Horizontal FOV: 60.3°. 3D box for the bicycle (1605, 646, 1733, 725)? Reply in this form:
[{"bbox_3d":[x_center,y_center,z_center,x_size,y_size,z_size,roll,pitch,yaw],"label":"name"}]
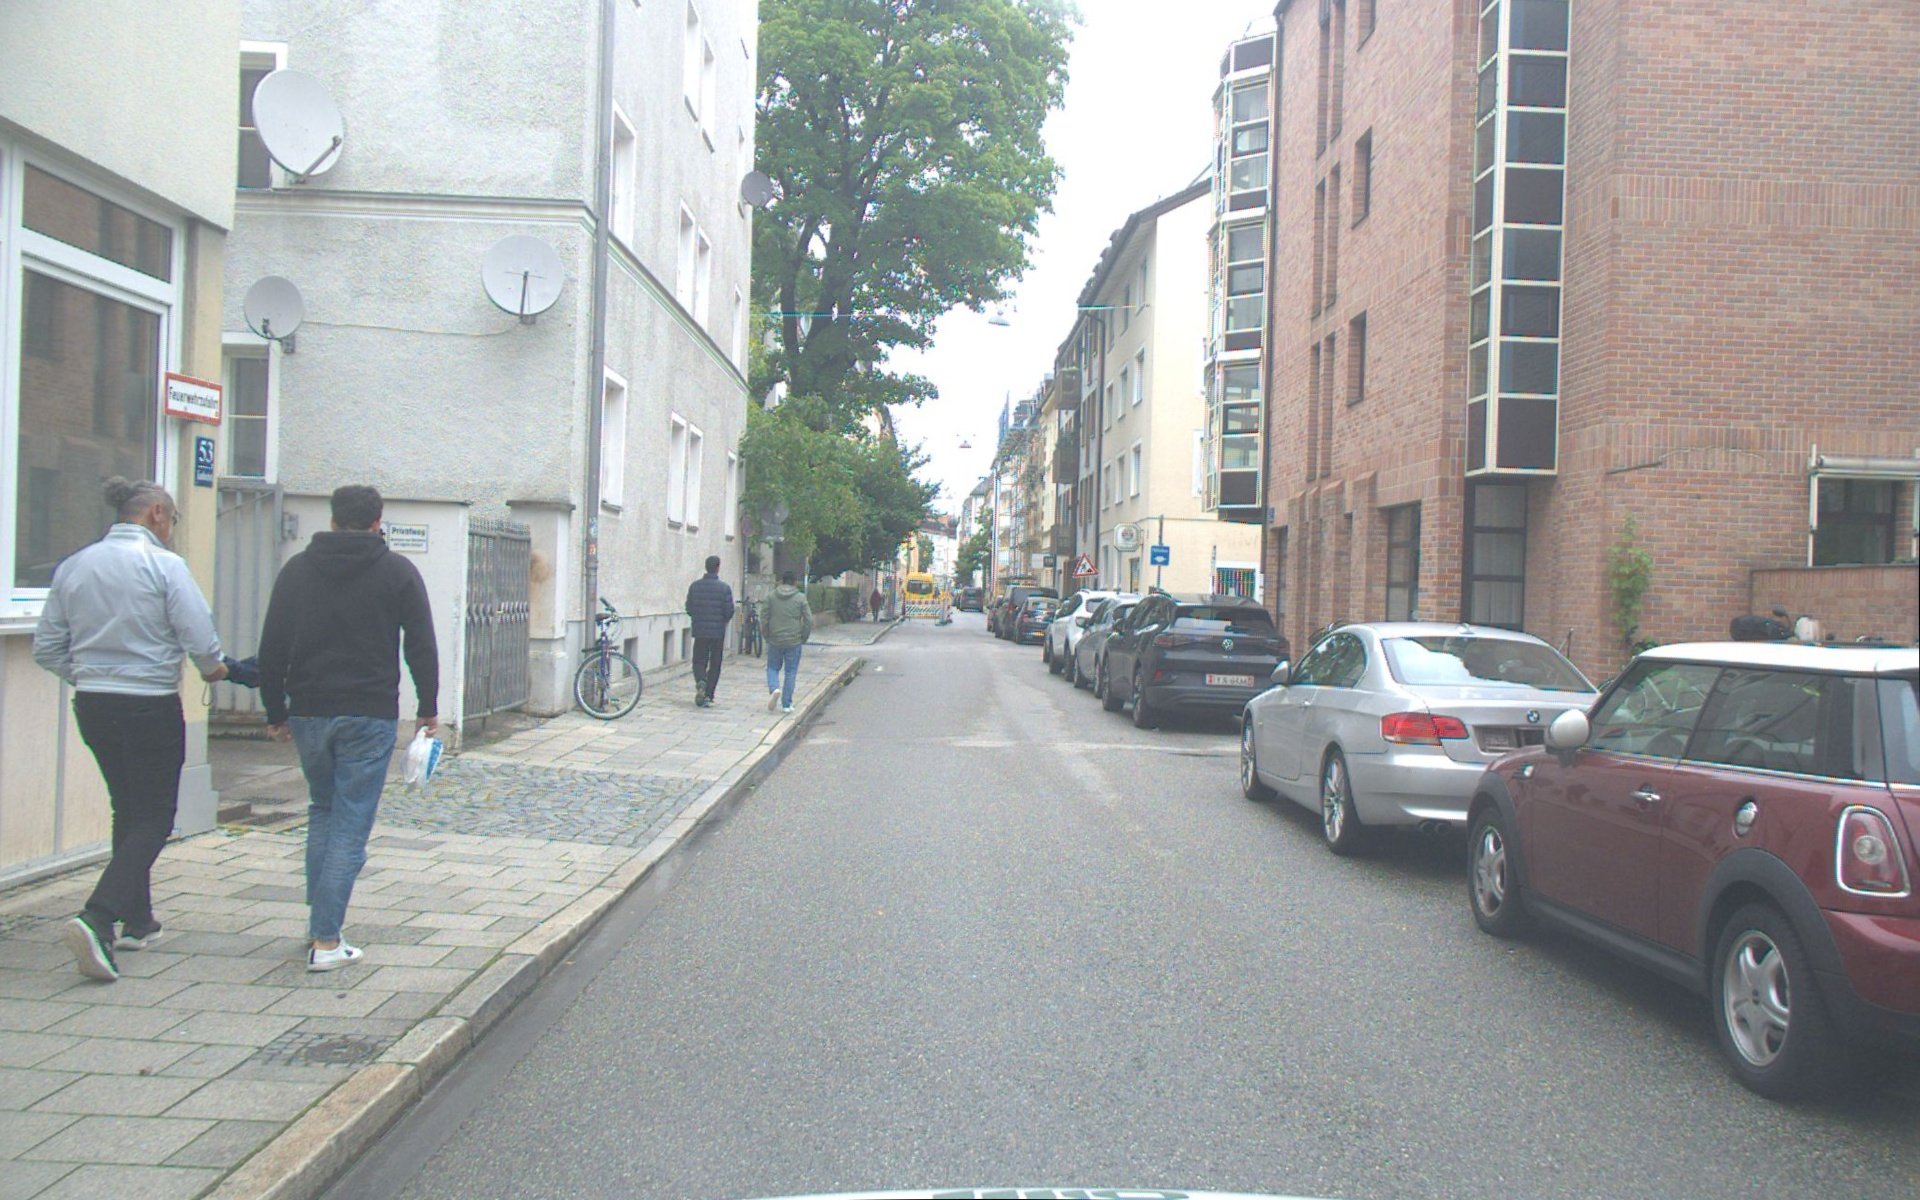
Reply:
[{"bbox_3d":[8.140,0.975,19.008,1.289,0.874,0.413,1,0,-1],"label":"bicycle"}]

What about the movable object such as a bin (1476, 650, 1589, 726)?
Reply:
[{"bbox_3d":[6.922,1.055,20.025,1.064,0.846,0.844,1,0,0],"label":"movable object such as a bin"}]

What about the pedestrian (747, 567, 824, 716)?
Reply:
[{"bbox_3d":[-2.065,0.485,19.670,0.738,1.688,0.906,3,-1,-1],"label":"pedestrian"}]

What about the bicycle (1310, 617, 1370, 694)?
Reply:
[{"bbox_3d":[5.828,0.837,25.436,0.548,1.098,1.471,2,0,-1],"label":"bicycle"}]

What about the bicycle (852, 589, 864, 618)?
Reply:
[{"bbox_3d":[-5.165,0.185,84.074,0.503,1.442,1.933,1,0,-1],"label":"bicycle"}]

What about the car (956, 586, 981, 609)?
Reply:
[{"bbox_3d":[0.701,-0.202,135.554,1.766,1.741,3.825,5,0,-3],"label":"car"}]

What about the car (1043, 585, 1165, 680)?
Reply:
[{"bbox_3d":[2.669,0.573,31.479,1.714,1.658,4.194,1,0,-3],"label":"car"}]

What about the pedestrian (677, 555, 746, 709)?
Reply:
[{"bbox_3d":[-2.921,0.372,19.510,0.600,1.743,0.823,3,-1,-2],"label":"pedestrian"}]

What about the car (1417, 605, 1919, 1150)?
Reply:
[{"bbox_3d":[3.372,0.810,6.735,1.710,1.487,4.148,2,0,-2],"label":"car"}]

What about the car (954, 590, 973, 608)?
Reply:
[{"bbox_3d":[0.361,-0.122,163.697,1.764,1.642,3.999,2,0,-1],"label":"car"}]

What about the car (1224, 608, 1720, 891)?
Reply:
[{"bbox_3d":[3.171,0.831,11.331,1.799,1.442,4.599,2,0,-2],"label":"car"}]

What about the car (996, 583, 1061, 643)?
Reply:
[{"bbox_3d":[2.349,0.431,57.649,1.766,1.851,3.998,5,0,-3],"label":"car"}]

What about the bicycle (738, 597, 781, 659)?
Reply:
[{"bbox_3d":[-3.881,0.521,31.876,0.465,1.130,1.751,2,0,-18],"label":"bicycle"}]

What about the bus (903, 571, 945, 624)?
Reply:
[{"bbox_3d":[-2.230,-0.131,103.309,2.540,3.156,6.305,1,0,-1],"label":"bus"}]

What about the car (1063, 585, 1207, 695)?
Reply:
[{"bbox_3d":[2.790,0.622,27.157,1.687,1.664,3.878,1,0,-4],"label":"car"}]

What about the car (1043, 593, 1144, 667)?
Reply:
[{"bbox_3d":[2.884,0.619,36.467,1.709,1.470,3.998,2,0,-2],"label":"car"}]

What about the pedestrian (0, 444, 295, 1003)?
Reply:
[{"bbox_3d":[-2.981,0.410,5.961,0.704,1.828,0.916,3,-1,-1],"label":"pedestrian"}]

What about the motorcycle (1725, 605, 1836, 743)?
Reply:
[{"bbox_3d":[8.667,0.745,17.541,0.528,1.368,1.942,0,0,10],"label":"motorcycle"}]

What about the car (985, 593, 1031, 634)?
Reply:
[{"bbox_3d":[1.988,0.534,69.525,1.603,1.541,3.828,5,0,-1],"label":"car"}]

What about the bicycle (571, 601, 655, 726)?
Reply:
[{"bbox_3d":[-3.644,0.631,17.270,0.632,1.239,1.655,1,0,-20],"label":"bicycle"}]

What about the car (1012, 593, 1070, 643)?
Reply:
[{"bbox_3d":[2.582,0.550,53.293,1.592,1.513,3.808,2,0,-1],"label":"car"}]

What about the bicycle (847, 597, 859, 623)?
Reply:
[{"bbox_3d":[-4.603,0.420,71.280,0.437,1.092,2.466,1,0,-2],"label":"bicycle"}]

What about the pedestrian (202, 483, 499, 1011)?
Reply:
[{"bbox_3d":[-2.236,0.512,6.173,0.704,1.796,0.838,3,-1,-1],"label":"pedestrian"}]

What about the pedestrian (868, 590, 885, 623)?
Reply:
[{"bbox_3d":[-3.875,0.285,76.678,0.740,1.517,0.831,1,0,-1],"label":"pedestrian"}]

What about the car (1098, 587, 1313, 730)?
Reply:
[{"bbox_3d":[3.010,0.664,21.176,1.848,1.582,4.389,2,0,-3],"label":"car"}]
